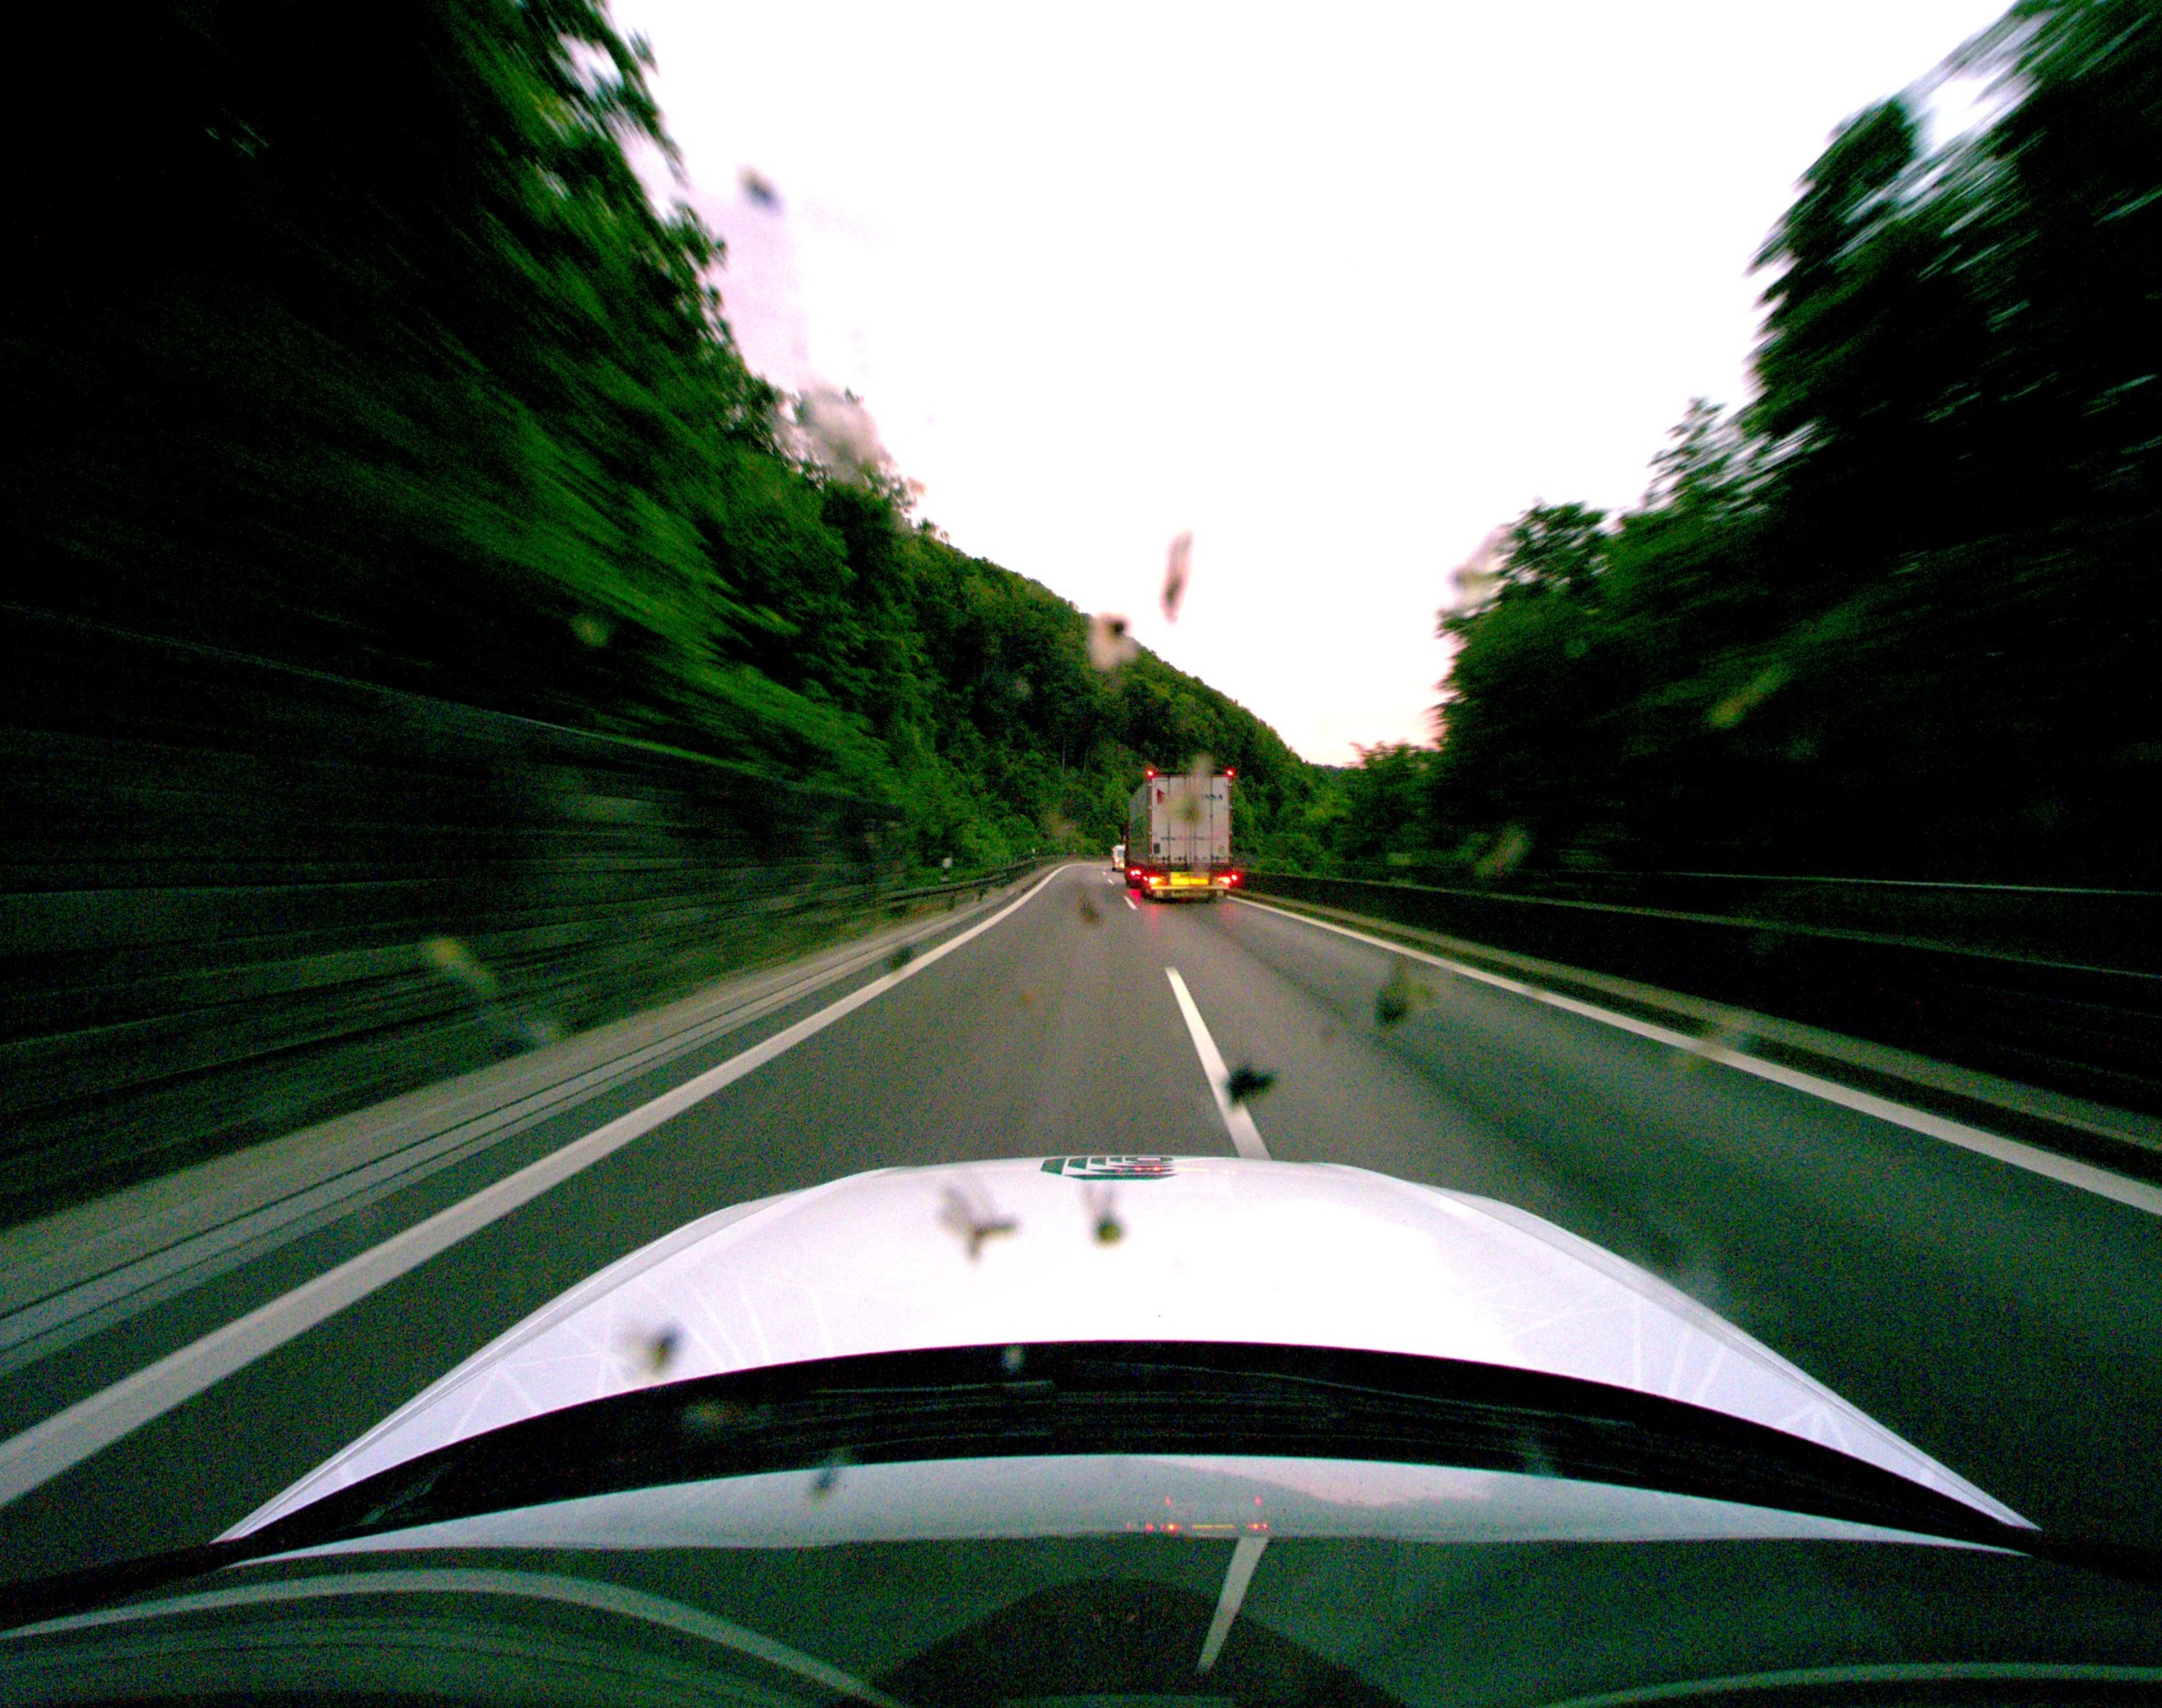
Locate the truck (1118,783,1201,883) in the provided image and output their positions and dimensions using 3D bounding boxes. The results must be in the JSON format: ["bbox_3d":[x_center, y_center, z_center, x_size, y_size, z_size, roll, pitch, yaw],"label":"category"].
[{"bbox_3d":[3.461,-0.903,37.520,3.060,4.144,6.444,1,0,-1],"label":"truck"}]

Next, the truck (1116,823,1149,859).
[{"bbox_3d":[6.980,-1.519,107.771,3.277,4.173,16.531,1,-1,7],"label":"truck"}]

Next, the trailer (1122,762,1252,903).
[{"bbox_3d":[3.510,-0.696,31.311,3.086,3.969,14.220,-4,0,1],"label":"trailer"}]

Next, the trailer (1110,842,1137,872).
[{"bbox_3d":[3.754,0.207,71.369,2.045,2.374,5.946,5,2,4],"label":"trailer"}]
